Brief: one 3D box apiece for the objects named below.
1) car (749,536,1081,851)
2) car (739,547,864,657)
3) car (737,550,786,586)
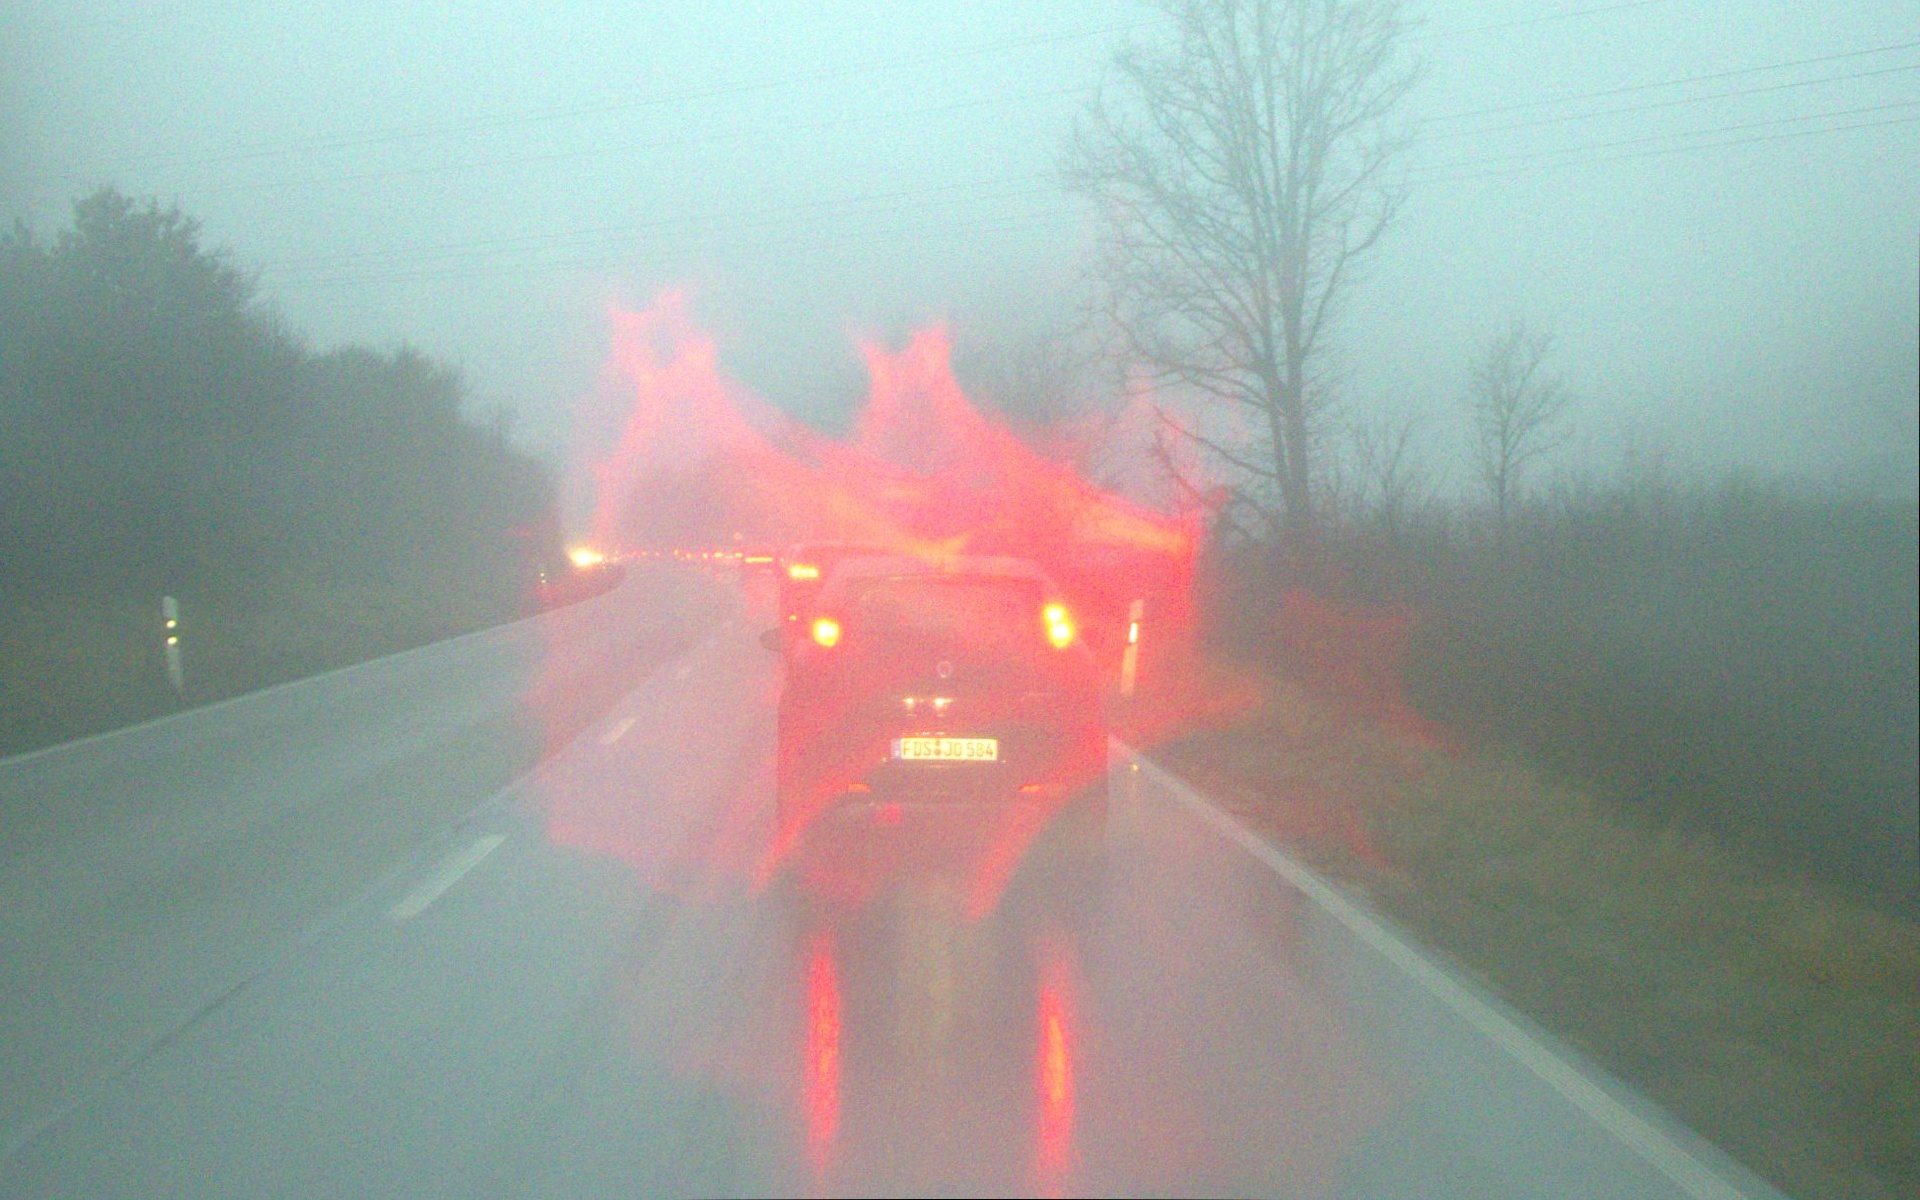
[{"bbox_3d":[-0.163,0.424,18.707,1.602,1.517,3.869,1,1,2],"label":"car"},{"bbox_3d":[-2.094,-0.003,46.154,1.547,1.392,3.870,1,1,-1],"label":"car"},{"bbox_3d":[-7.990,-1.307,138.679,1.547,1.392,3.869,1,1,3],"label":"car"}]
